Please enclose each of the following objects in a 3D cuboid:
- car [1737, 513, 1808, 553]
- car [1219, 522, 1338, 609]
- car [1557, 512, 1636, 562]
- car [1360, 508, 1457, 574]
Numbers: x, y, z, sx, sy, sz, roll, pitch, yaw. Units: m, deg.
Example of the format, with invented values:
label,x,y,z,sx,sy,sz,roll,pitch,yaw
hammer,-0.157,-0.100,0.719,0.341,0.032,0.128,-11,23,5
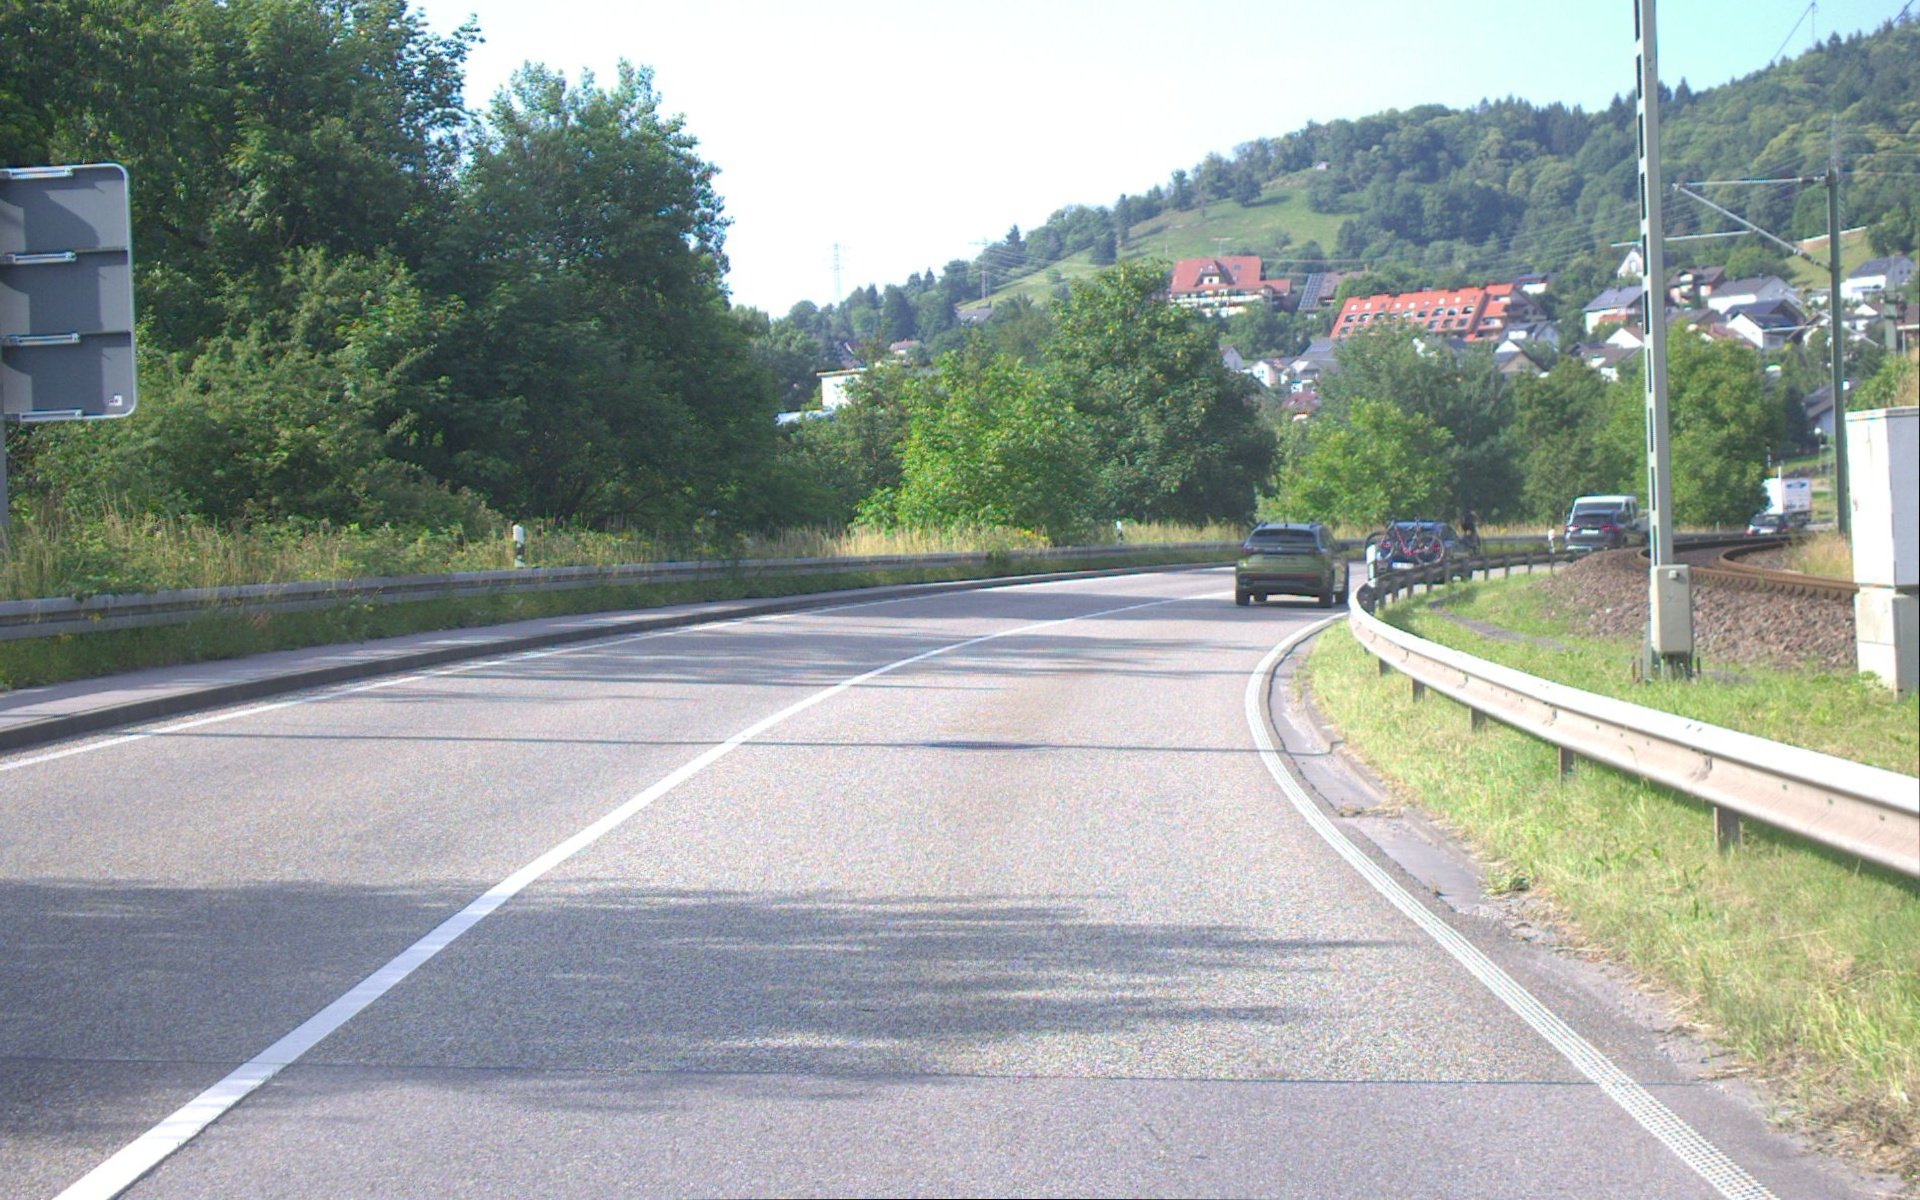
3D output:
label,x,y,z,sx,sy,sz,roll,pitch,yaw
car,30.966,-2.552,130.966,1.811,1.403,3.768,-2,1,26
car,5.804,-0.646,62.313,1.729,1.452,3.409,-2,1,12
car,19.982,-1.995,107.863,1.808,1.448,3.644,-2,1,20
car,10.618,-1.410,81.192,1.841,1.454,3.711,-2,1,13
